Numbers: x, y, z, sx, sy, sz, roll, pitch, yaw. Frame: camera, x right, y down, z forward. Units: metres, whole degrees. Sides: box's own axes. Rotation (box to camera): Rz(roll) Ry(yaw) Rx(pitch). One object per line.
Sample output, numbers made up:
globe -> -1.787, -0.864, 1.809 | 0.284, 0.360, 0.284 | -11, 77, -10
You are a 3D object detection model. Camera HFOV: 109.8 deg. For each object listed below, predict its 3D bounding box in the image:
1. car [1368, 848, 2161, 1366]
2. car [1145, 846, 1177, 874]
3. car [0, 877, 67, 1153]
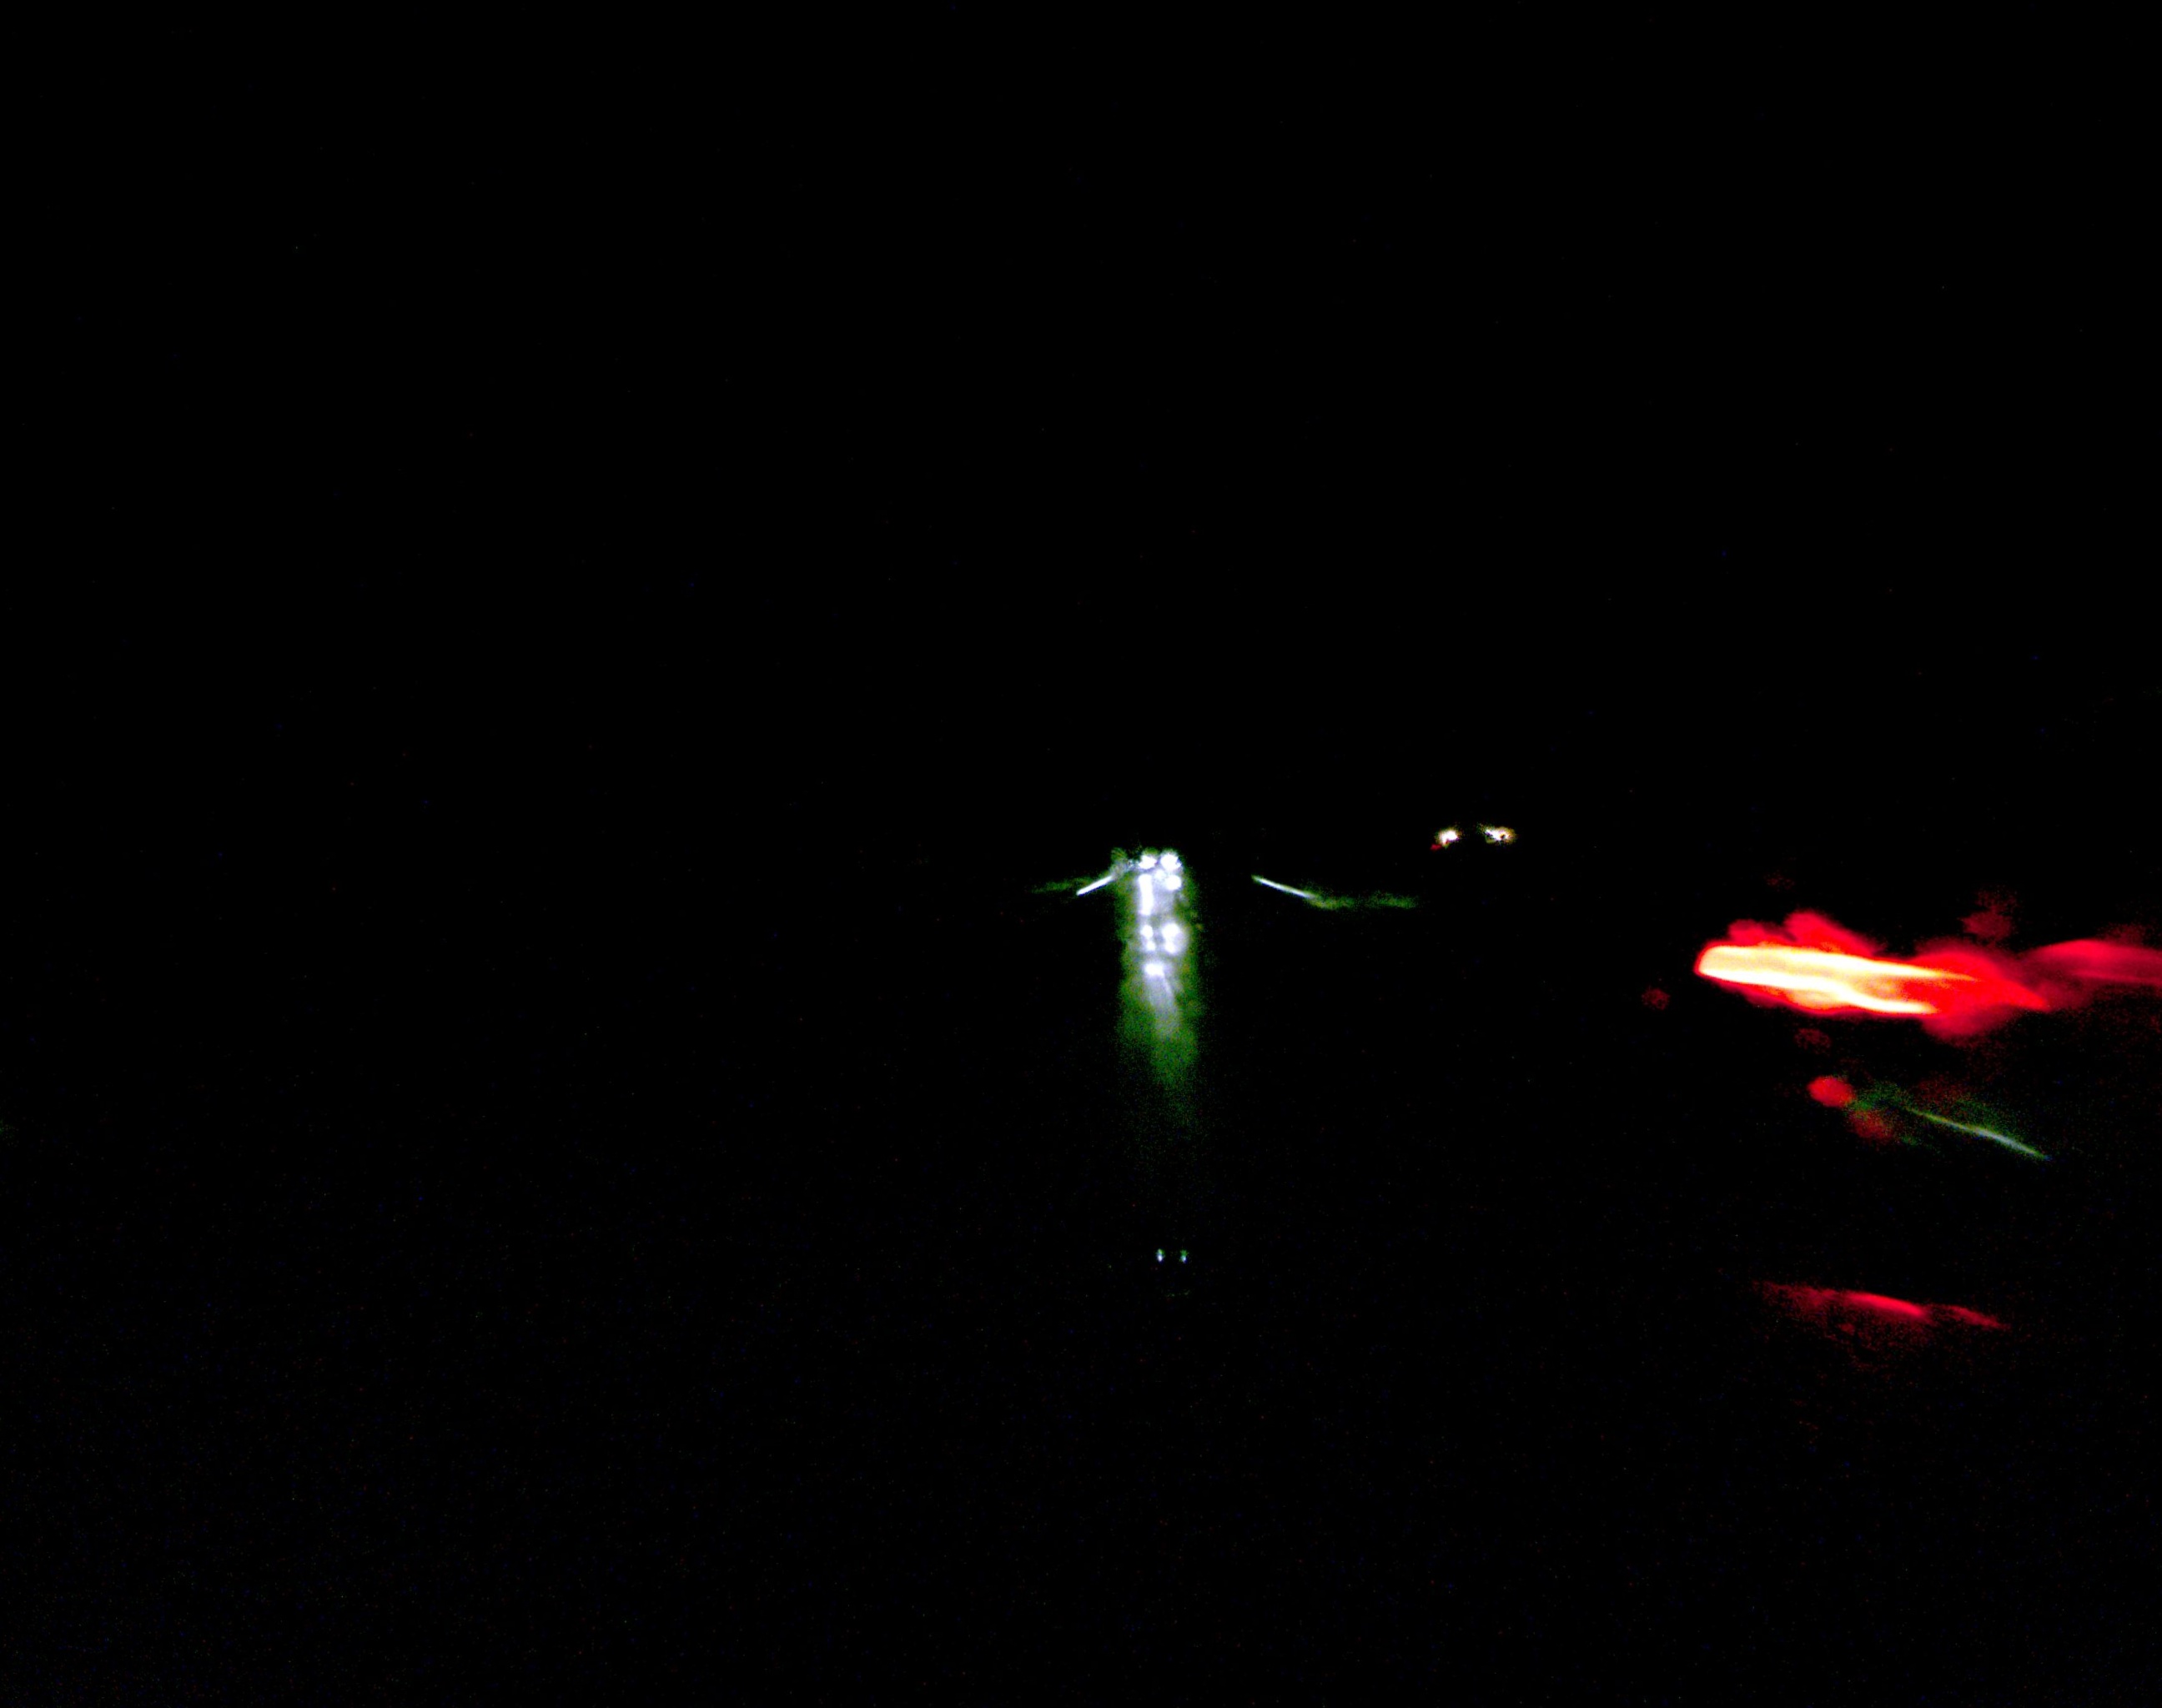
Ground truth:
car -> 3.502, 0.791, 4.571 | 1.960, 1.513, 4.399 | -3, 1, 2
car -> 5.436, 0.394, 51.156 | 1.958, 1.712, 4.001 | -1, 1, 8
car -> -6.855, 1.014, 3.444 | 1.964, 1.682, 4.761 | -4, 2, -45
